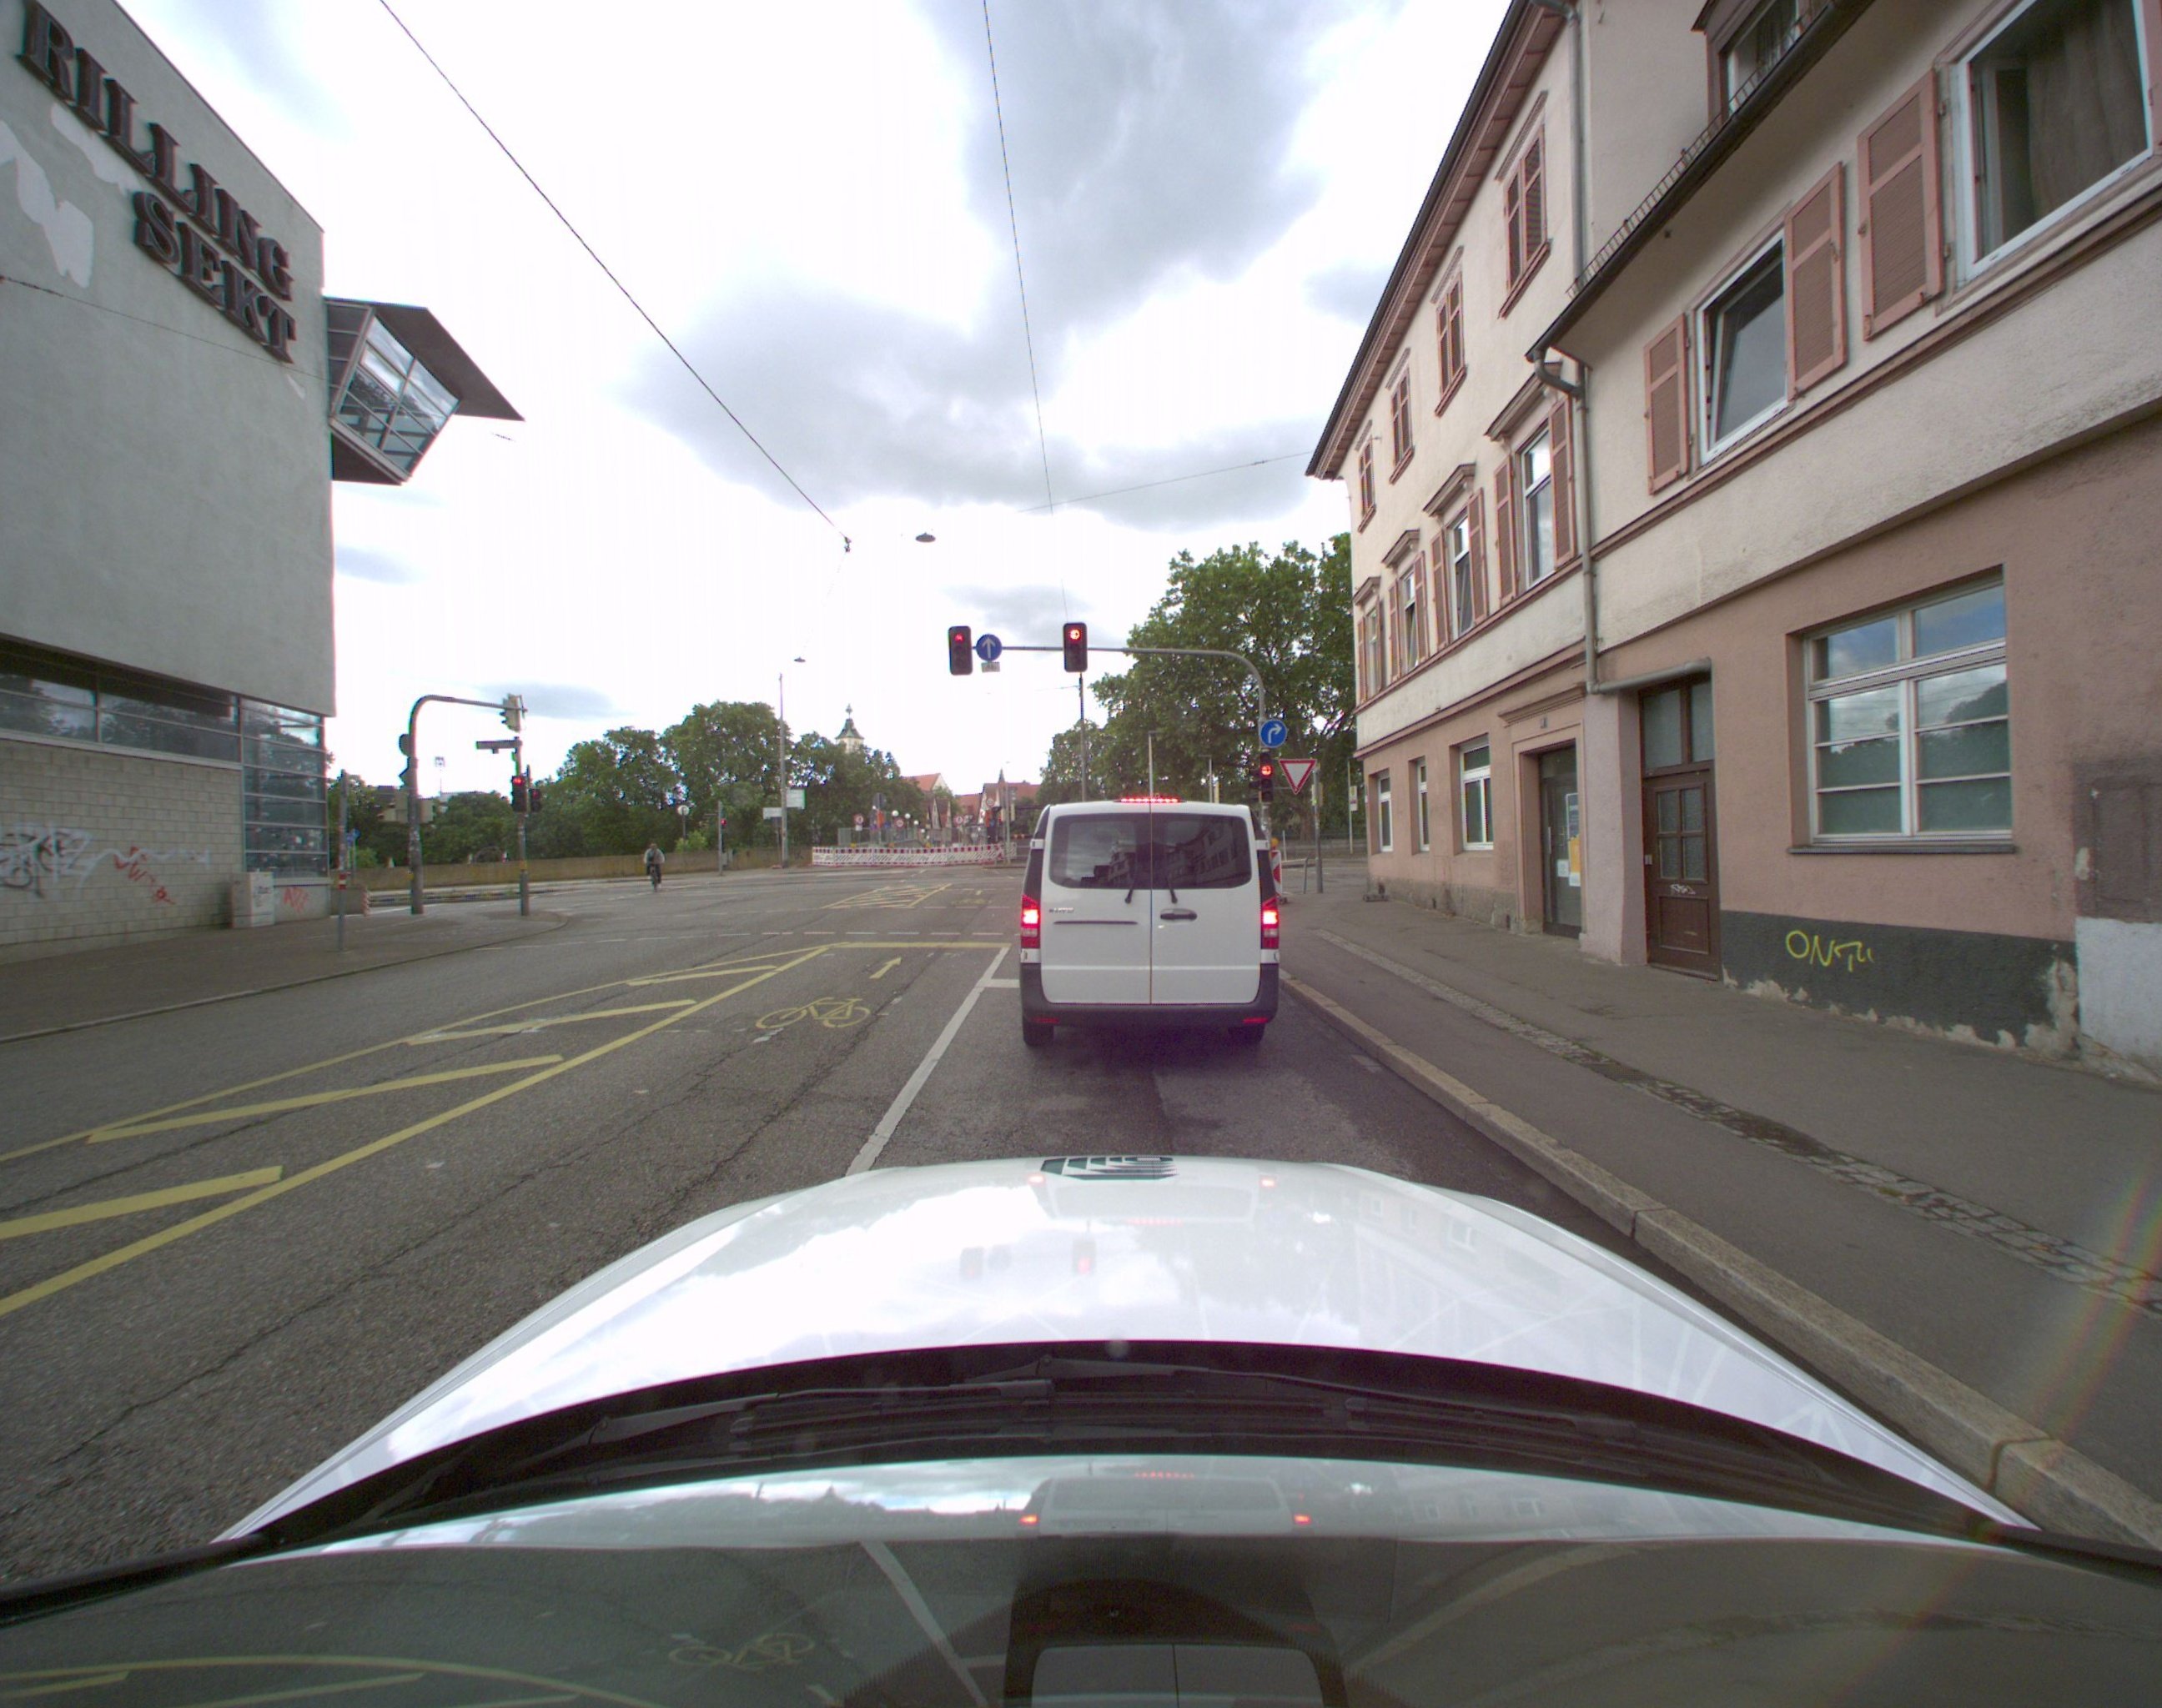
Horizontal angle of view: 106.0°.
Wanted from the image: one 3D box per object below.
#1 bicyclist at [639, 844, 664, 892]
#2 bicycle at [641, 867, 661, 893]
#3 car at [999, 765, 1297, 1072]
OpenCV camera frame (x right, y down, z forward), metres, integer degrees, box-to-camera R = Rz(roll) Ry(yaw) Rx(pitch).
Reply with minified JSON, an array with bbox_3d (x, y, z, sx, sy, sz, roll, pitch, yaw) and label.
[{"bbox_3d":[-15.638,0.500,29.663,0.727,1.701,0.804,-2,0,-26],"label":"bicyclist"},{"bbox_3d":[-15.703,0.936,29.786,0.544,0.892,1.864,-2,0,-26],"label":"bicycle"},{"bbox_3d":[0.517,0.373,7.704,1.943,2.013,4.700,0,1,2],"label":"car"}]
